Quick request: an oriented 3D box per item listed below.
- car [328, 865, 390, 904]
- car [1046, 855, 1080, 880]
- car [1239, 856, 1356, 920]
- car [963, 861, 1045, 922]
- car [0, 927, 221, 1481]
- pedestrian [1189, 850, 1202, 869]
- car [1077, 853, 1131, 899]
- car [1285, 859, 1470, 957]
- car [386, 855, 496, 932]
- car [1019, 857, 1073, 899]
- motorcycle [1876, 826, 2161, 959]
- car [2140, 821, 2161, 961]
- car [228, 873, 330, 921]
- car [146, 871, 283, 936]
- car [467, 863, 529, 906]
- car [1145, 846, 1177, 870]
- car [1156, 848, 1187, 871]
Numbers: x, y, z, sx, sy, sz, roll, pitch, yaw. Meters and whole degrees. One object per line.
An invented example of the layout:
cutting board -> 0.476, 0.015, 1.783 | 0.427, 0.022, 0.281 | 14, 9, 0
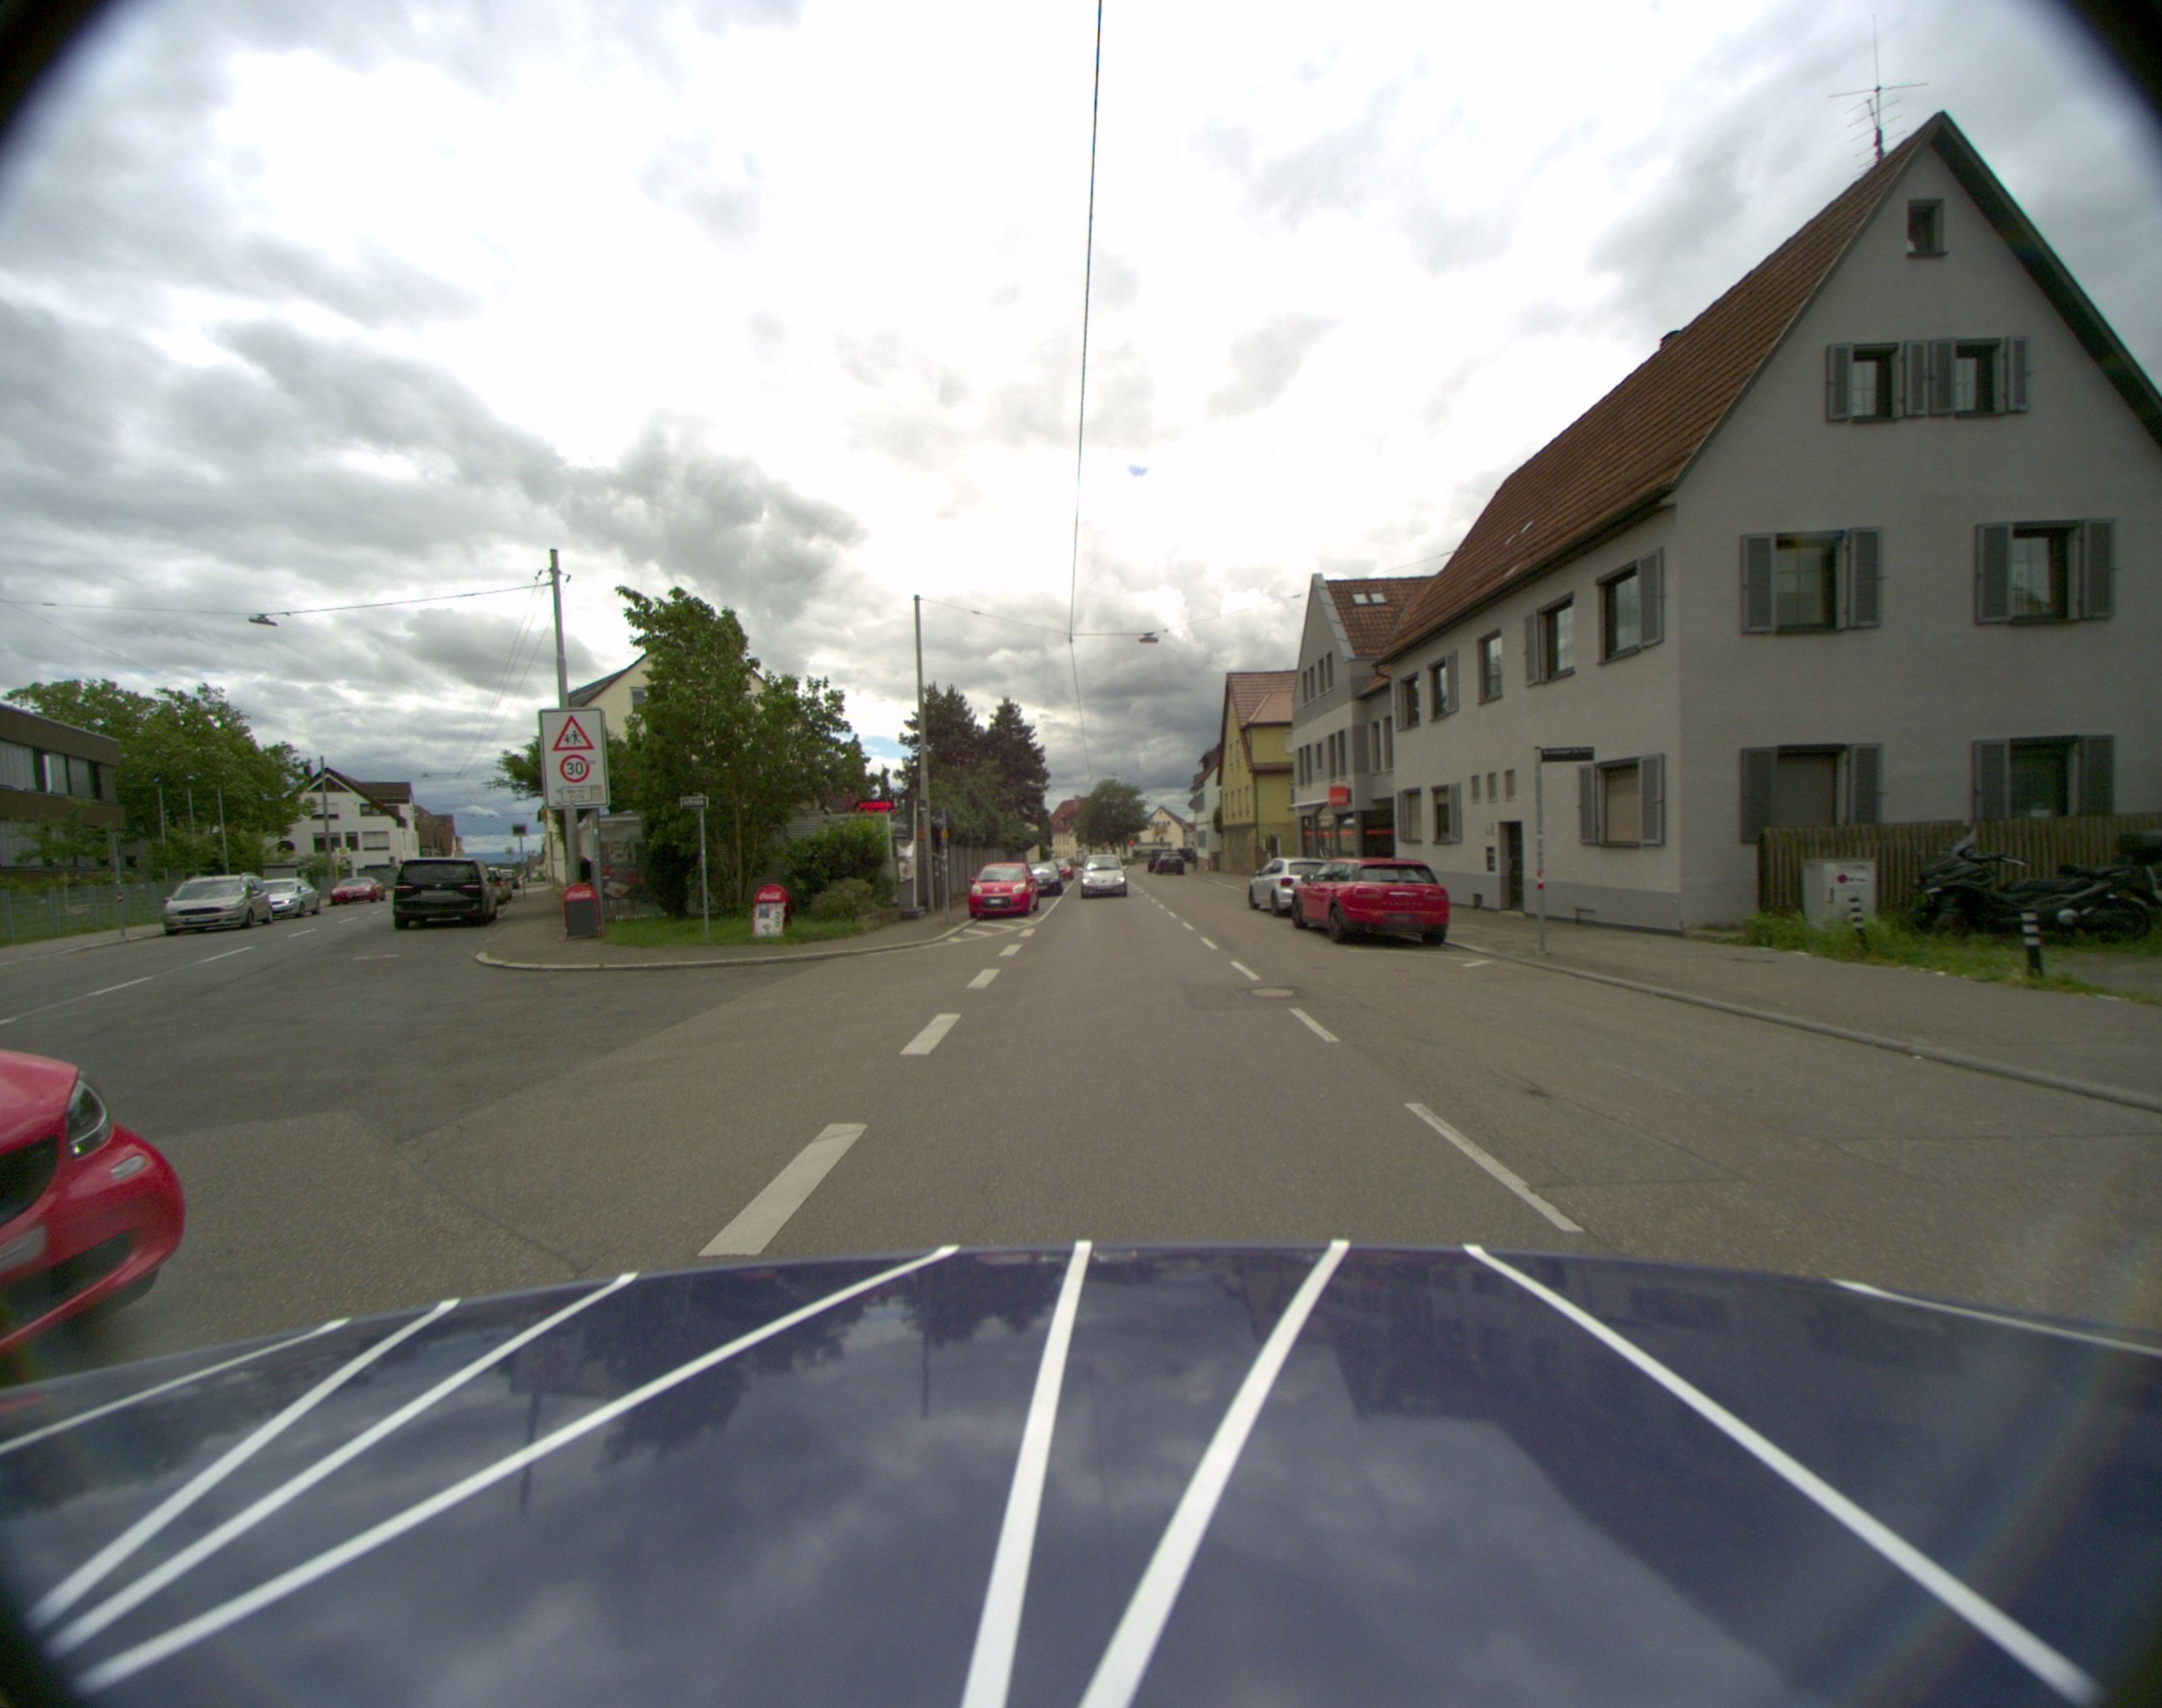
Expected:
car -> -40.344, 1.662, 42.555 | 2.004, 2.002, 4.381 | -2, 1, -38
car -> -1.170, 0.904, 51.680 | 1.995, 1.490, 4.352 | -4, 0, 1
car -> 5.454, 0.797, 19.723 | 1.782, 1.465, 4.352 | 0, 0, 0
car -> -2.098, 0.987, 21.747 | 1.719, 1.472, 4.000 | -2, 0, 2
car -> -4.497, 1.065, 1.654 | 2.939, 1.511, 1.819 | -2, 0, -9
pedestrian -> 8.771, 0.427, 58.184 | 0.832, 1.368, 0.551 | -2, 1, 2
car -> 0.838, 0.760, 28.720 | 1.858, 1.547, 4.352 | -1, 0, 1
car -> 5.189, 0.854, 13.999 | 1.863, 1.465, 4.353 | 1, 0, 3
car -> -17.703, 1.009, 21.222 | 2.004, 1.866, 4.382 | -2, 0, -36
car -> -1.408, 0.975, 32.397 | 1.818, 1.472, 4.000 | -6, 0, 2
motorcycle -> 11.499, 0.436, 8.987 | 2.828, 1.465, 0.838 | -1, 1, 18
car -> 12.774, 0.351, 6.248 | 1.998, 1.543, 4.416 | -4, 0, 2
car -> -30.843, 1.587, 29.369 | 2.004, 1.595, 4.381 | -2, 0, -38
car -> -27.103, 1.462, 23.952 | 2.004, 1.731, 4.381 | -2, 0, -38
car -> -25.574, 1.283, 33.467 | 2.004, 1.663, 4.382 | -2, 0, -36
car -> 6.396, 0.288, 61.073 | 2.112, 1.838, 4.352 | -1, 0, 1
car -> 6.438, 0.374, 54.533 | 1.718, 1.559, 4.352 | -1, 0, 1
